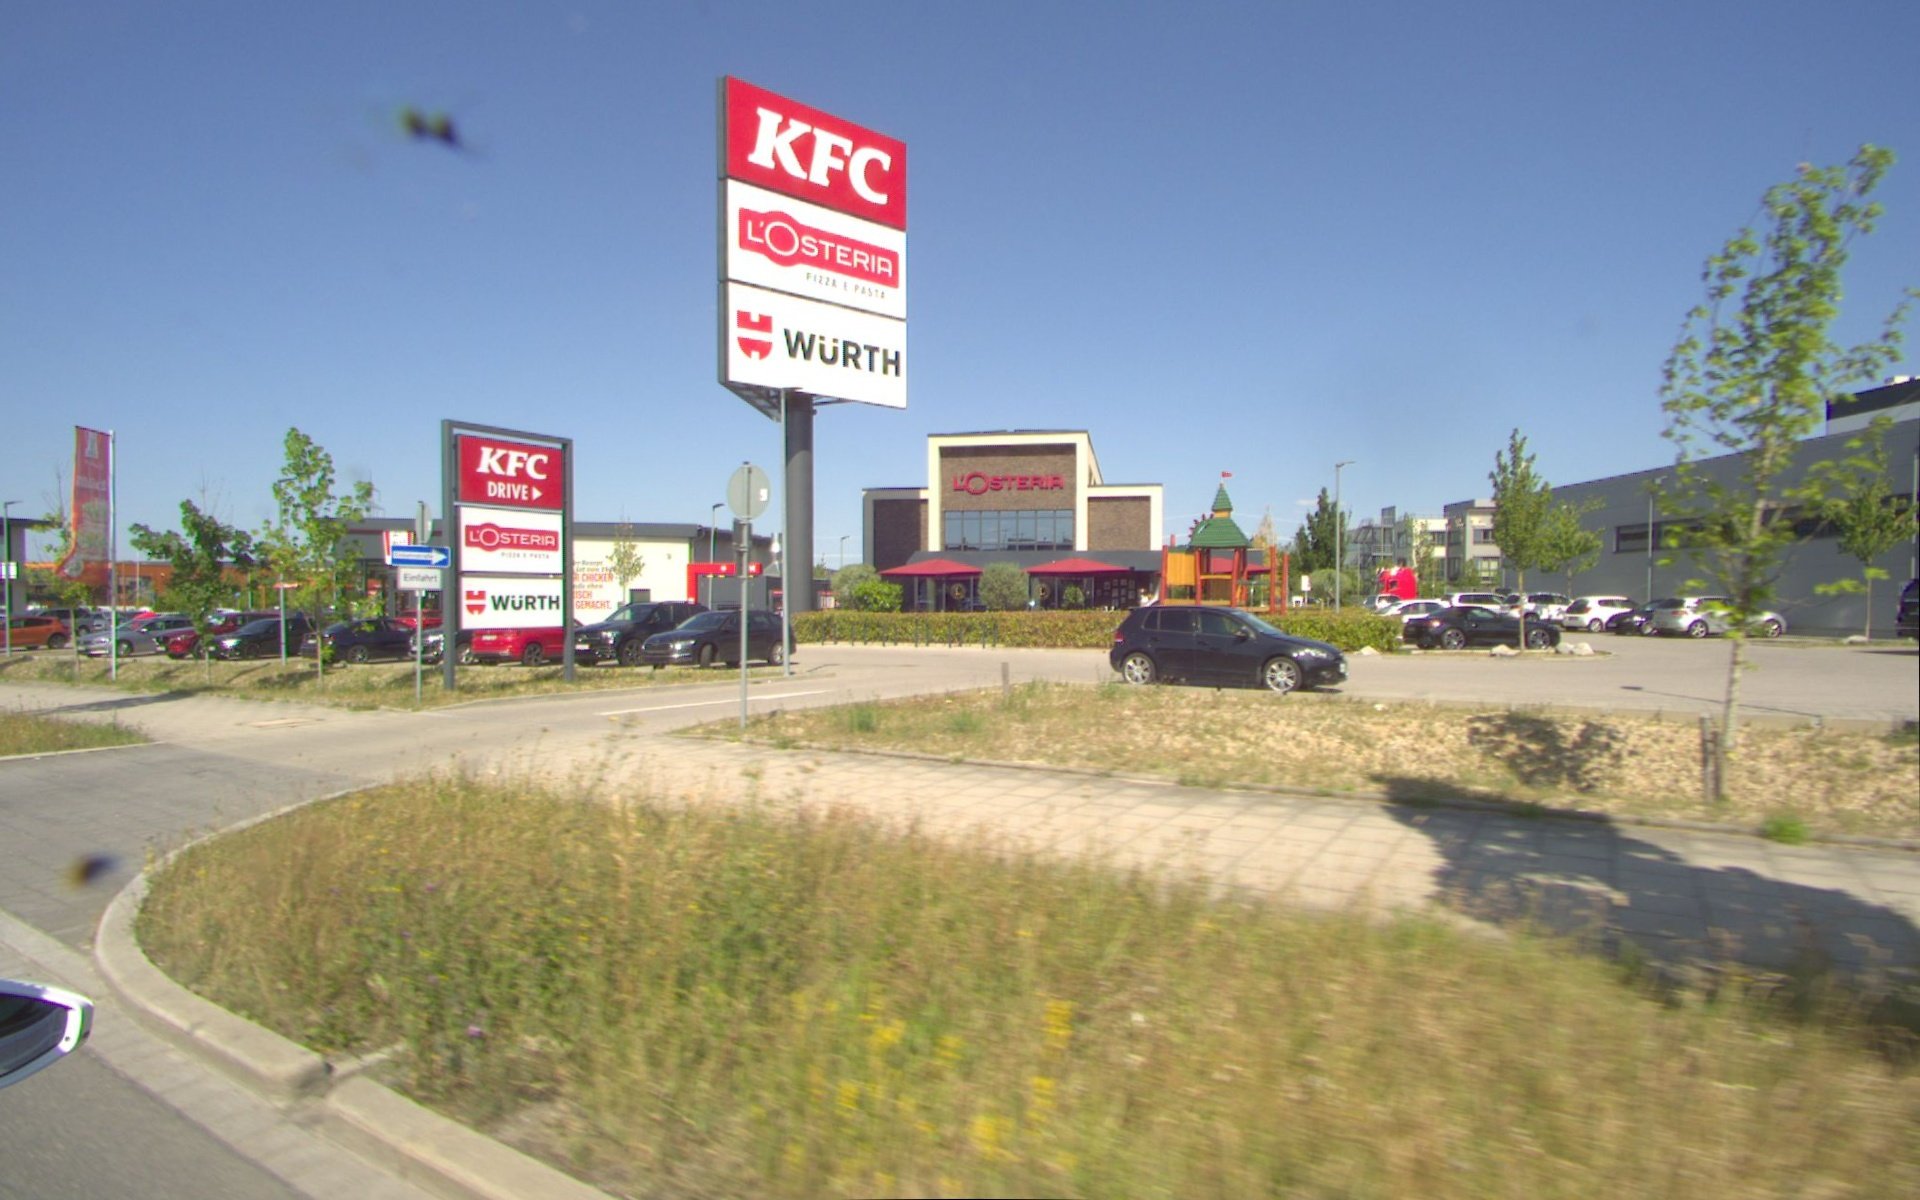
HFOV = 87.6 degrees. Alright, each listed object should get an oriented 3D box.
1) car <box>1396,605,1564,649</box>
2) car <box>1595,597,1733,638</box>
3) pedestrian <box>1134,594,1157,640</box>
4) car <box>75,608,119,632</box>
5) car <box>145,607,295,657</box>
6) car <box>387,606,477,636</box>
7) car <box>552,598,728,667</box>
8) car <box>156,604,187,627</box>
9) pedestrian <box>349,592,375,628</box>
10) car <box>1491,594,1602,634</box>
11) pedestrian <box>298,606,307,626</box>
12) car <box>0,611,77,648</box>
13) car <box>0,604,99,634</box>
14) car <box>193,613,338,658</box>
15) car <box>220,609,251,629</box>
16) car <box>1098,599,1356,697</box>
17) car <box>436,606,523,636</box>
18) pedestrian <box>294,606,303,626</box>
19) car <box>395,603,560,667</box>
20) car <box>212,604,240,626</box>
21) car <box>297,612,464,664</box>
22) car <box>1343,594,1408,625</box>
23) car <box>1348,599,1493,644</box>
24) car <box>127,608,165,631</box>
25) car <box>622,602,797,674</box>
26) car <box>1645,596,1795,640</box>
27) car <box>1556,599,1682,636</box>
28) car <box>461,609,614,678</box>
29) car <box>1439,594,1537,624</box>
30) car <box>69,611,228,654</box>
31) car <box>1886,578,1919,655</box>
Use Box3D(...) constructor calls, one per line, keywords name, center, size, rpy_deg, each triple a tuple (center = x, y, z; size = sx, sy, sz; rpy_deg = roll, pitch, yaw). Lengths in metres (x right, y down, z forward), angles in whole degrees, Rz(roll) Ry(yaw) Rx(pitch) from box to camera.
Box3D(name="car", center=(15.064, 0.780, 29.127), size=(4.055, 1.228, 1.654), rpy_deg=(0, 0, -1))
Box3D(name="car", center=(26.643, 0.662, 37.995), size=(4.029, 1.482, 1.702), rpy_deg=(0, 0, 0))
Box3D(name="pedestrian", center=(7.128, 0.657, 38.463), size=(0.806, 1.772, 0.518), rpy_deg=(0, 0, 14))
Box3D(name="car", center=(-54.940, 1.235, 63.798), size=(1.769, 1.470, 4.138), rpy_deg=(-1, 0, -37))
Box3D(name="car", center=(-27.678, 1.144, 37.623), size=(1.838, 1.688, 4.153), rpy_deg=(0, 1, 24))
Box3D(name="car", center=(-28.219, 1.097, 53.704), size=(1.833, 1.451, 4.566), rpy_deg=(0, 1, 10))
Box3D(name="car", center=(-9.001, 0.847, 28.691), size=(1.908, 1.758, 4.980), rpy_deg=(0, 1, 26))
Box3D(name="car", center=(-62.197, 1.204, 79.041), size=(1.769, 1.781, 4.138), rpy_deg=(-1, 0, -37))
Box3D(name="pedestrian", center=(-34.441, 0.556, 57.674), size=(0.874, 2.040, 0.915), rpy_deg=(0, 0, 14))
Box3D(name="car", center=(26.613, 0.620, 45.530), size=(4.029, 1.780, 1.702), rpy_deg=(0, 0, 0))
Box3D(name="pedestrian", center=(-41.439, 0.993, 63.131), size=(0.287, 1.257, 0.380), rpy_deg=(0, 1, 9))
Box3D(name="car", center=(-40.986, 1.263, 43.055), size=(1.835, 1.510, 4.211), rpy_deg=(0, 0, 17))
Box3D(name="car", center=(-51.682, 1.044, 56.762), size=(1.757, 1.657, 4.167), rpy_deg=(0, 0, 9))
Box3D(name="car", center=(-25.363, 1.258, 36.745), size=(1.759, 1.469, 4.159), rpy_deg=(0, 1, 19))
Box3D(name="car", center=(-53.288, 1.381, 73.662), size=(1.769, 1.470, 4.138), rpy_deg=(-1, 0, -37))
Box3D(name="car", center=(4.692, 0.780, 17.762), size=(4.109, 1.560, 1.776), rpy_deg=(0, 0, 32))
Box3D(name="car", center=(-25.469, 1.094, 53.286), size=(1.833, 1.451, 4.566), rpy_deg=(0, 1, 10))
Box3D(name="pedestrian", center=(-41.737, 0.994, 63.171), size=(0.287, 1.257, 0.380), rpy_deg=(0, 1, 9))
Box3D(name="car", center=(-14.728, 1.011, 30.838), size=(1.763, 1.758, 4.401), rpy_deg=(0, 1, 28))
Box3D(name="car", center=(-60.944, 1.259, 83.145), size=(1.769, 1.781, 4.138), rpy_deg=(-1, 0, -37))
Box3D(name="car", center=(-18.805, 1.190, 32.693), size=(1.768, 1.469, 4.390), rpy_deg=(1, 1, 36))
Box3D(name="car", center=(25.313, 0.577, 61.219), size=(2.009, 1.839, 4.923), rpy_deg=(0, 0, 2))
Box3D(name="car", center=(15.576, 0.719, 34.016), size=(4.150, 1.491, 1.702), rpy_deg=(0, 0, -1))
Box3D(name="car", center=(-54.223, 1.279, 66.732), size=(1.769, 1.470, 4.138), rpy_deg=(-1, 0, -37))
Box3D(name="car", center=(-6.241, 0.887, 25.454), size=(1.963, 1.587, 4.404), rpy_deg=(0, 1, 26))
Box3D(name="car", center=(26.826, 0.623, 35.426), size=(4.029, 1.482, 1.702), rpy_deg=(0, 0, 0))
Box3D(name="car", center=(26.812, 0.705, 40.829), size=(4.029, 1.482, 1.702), rpy_deg=(0, 0, 0))
Box3D(name="car", center=(-12.292, 1.200, 29.488), size=(1.758, 1.758, 4.413), rpy_deg=(0, 1, 16))
Box3D(name="car", center=(26.483, 0.464, 50.310), size=(4.029, 1.482, 1.702), rpy_deg=(0, 0, 0))
Box3D(name="car", center=(-31.870, 1.229, 39.497), size=(1.836, 1.510, 4.558), rpy_deg=(0, 1, 21))
Box3D(name="car", center=(25.577, 0.399, 23.963), size=(4.828, 1.840, 2.048), rpy_deg=(0, 0, 2))
